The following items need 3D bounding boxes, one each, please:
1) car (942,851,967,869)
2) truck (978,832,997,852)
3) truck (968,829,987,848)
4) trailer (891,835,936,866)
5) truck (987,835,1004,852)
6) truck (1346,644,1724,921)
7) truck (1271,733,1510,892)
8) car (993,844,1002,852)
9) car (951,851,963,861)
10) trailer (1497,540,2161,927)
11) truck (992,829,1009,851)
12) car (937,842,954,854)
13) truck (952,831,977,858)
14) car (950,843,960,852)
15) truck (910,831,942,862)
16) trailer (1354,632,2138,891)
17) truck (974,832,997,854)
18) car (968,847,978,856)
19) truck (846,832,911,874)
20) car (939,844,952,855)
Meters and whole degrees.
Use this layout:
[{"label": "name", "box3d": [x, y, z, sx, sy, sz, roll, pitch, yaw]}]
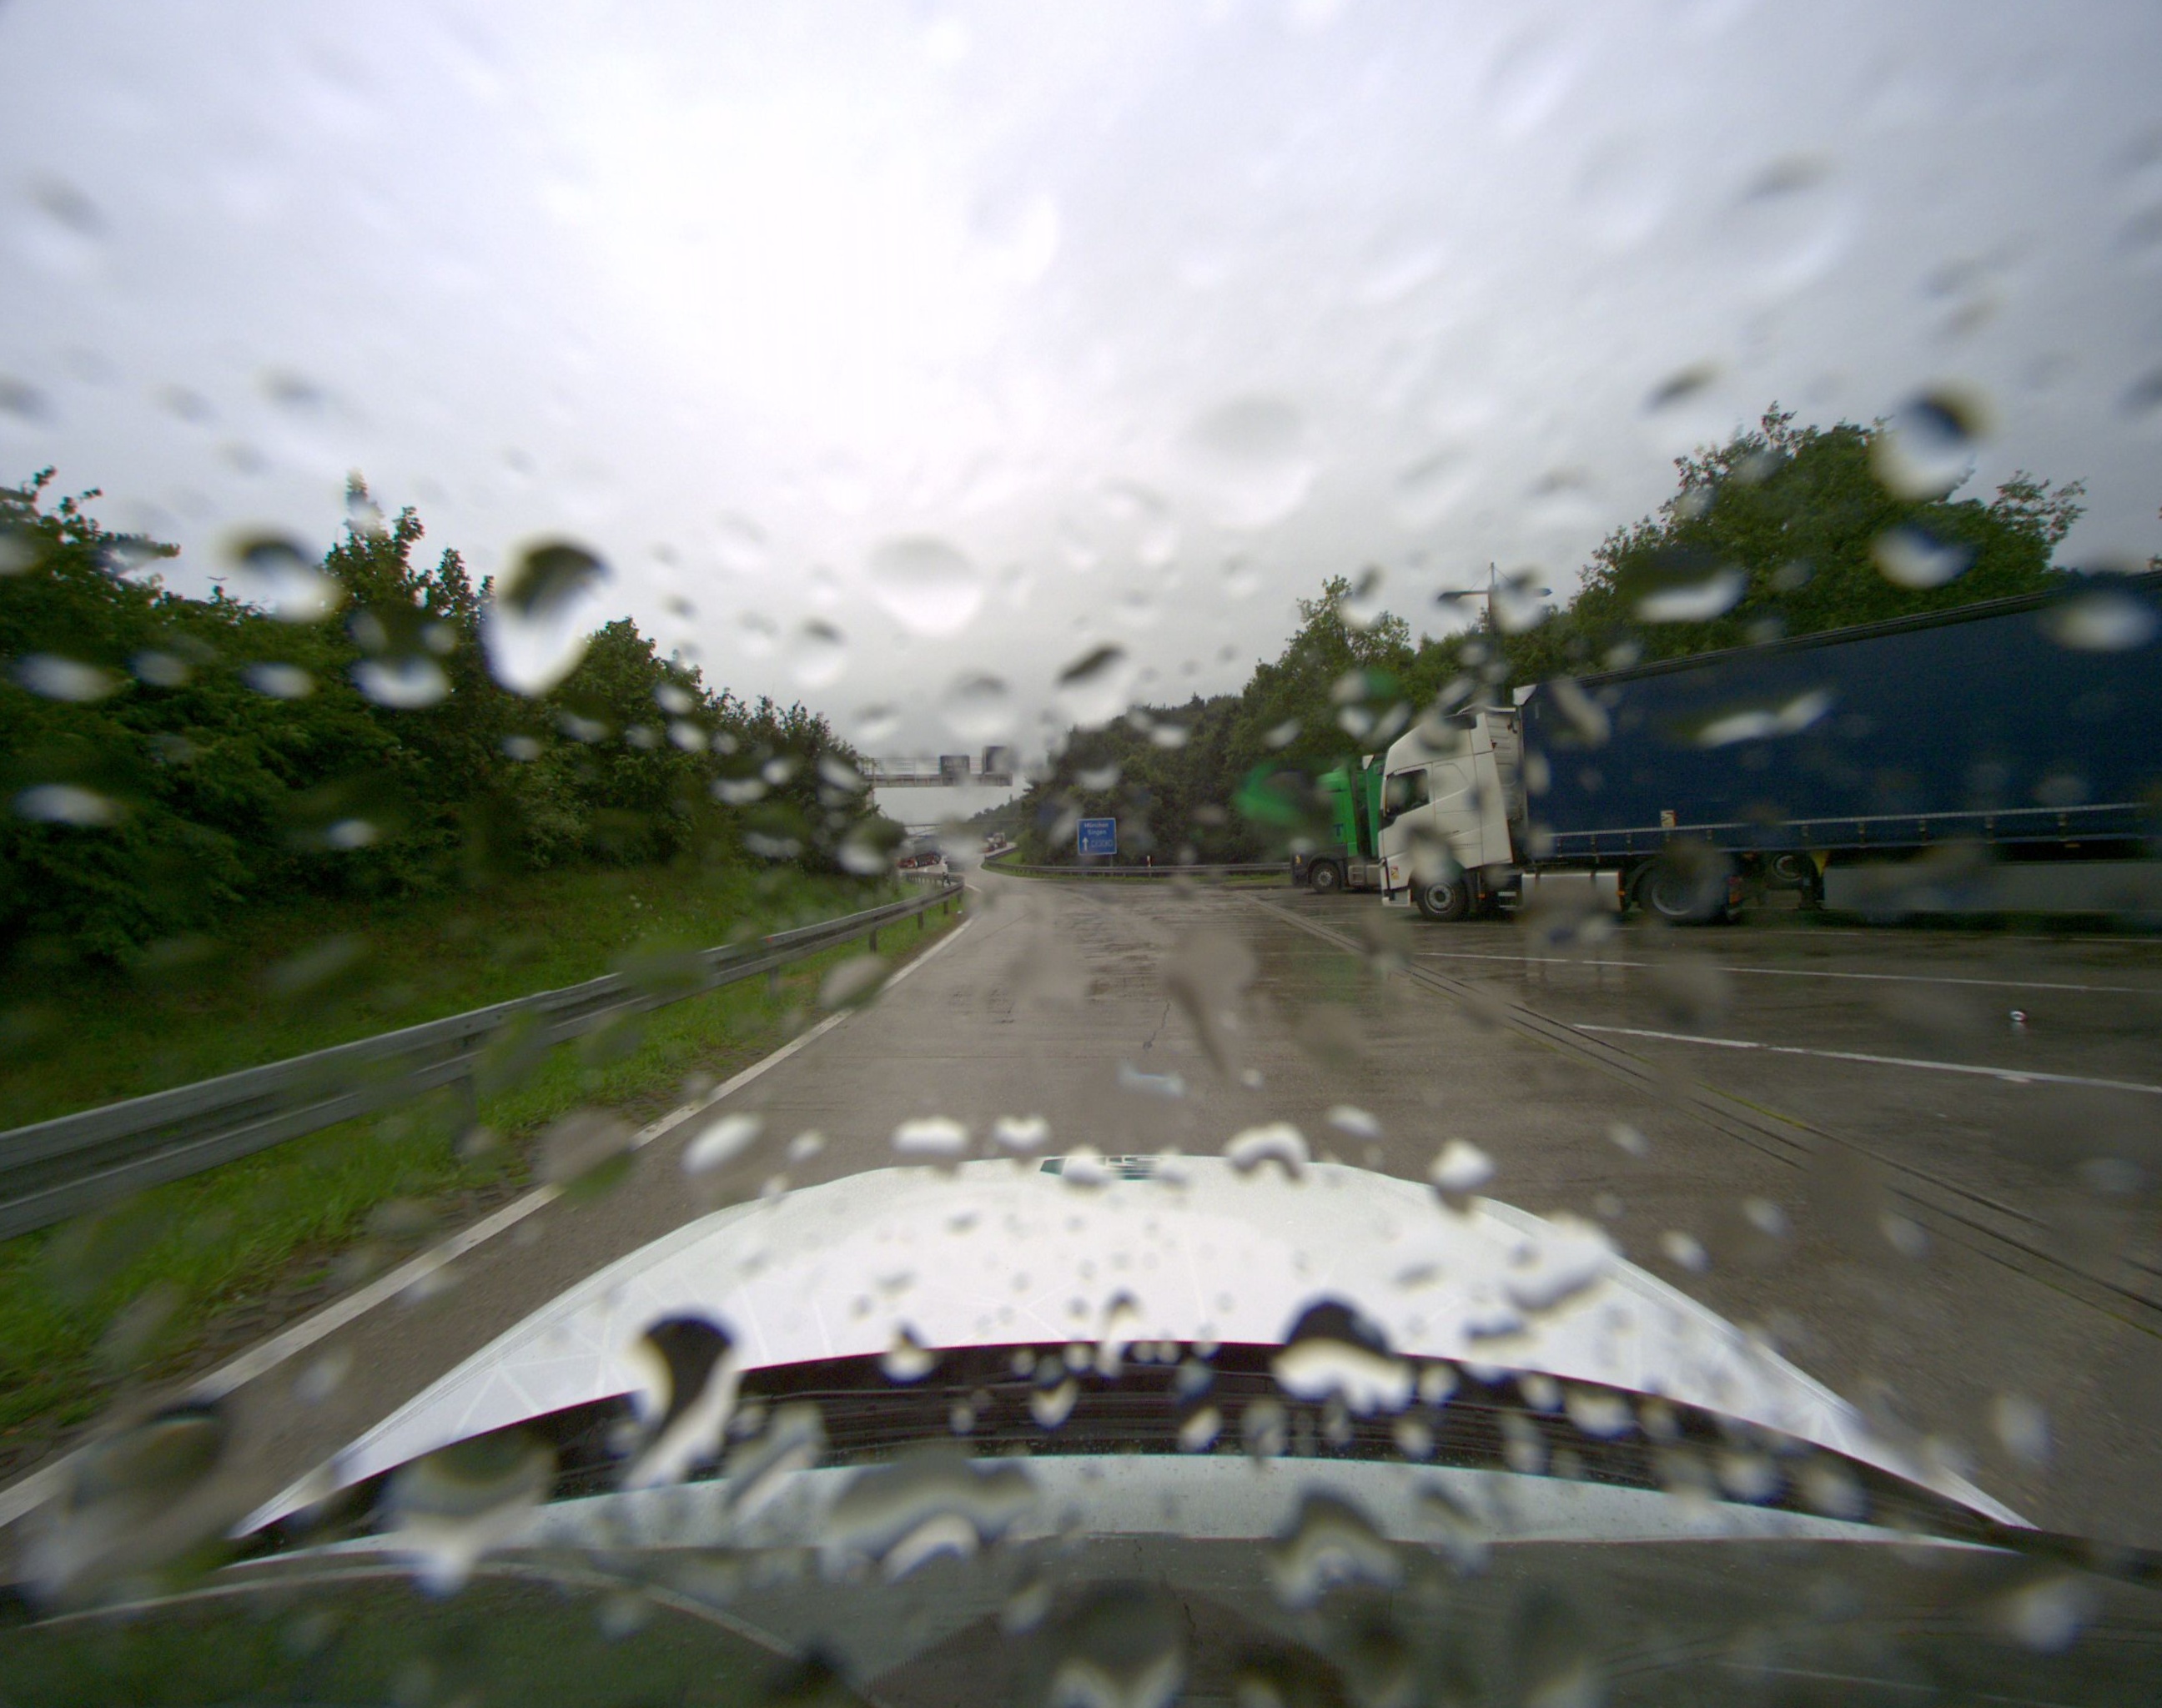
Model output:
[{"label": "car", "box3d": [-11.743, 0.530, 75.921, 1.990, 1.636, 3.993, 0, 0, -5]}, {"label": "truck", "box3d": [-20.475, -2.561, 178.994, 3.500, 4.268, 10.589, 0, 0, -4]}, {"label": "truck", "box3d": [-25.712, -3.803, 202.551, 3.567, 4.095, 10.872, -3, 0, -2]}, {"label": "trailer", "box3d": [-19.789, -0.546, 96.837, 2.863, 3.288, 10.081, -3, 2, 1]}, {"label": "truck", "box3d": [-21.221, -2.551, 203.367, 3.748, 3.970, 11.043, 0, 0, -4]}, {"label": "truck", "box3d": [8.158, -1.021, 15.072, 2.842, 4.145, 5.239, -3, -1, -41]}, {"label": "truck", "box3d": [9.182, -1.061, 24.641, 2.843, 4.149, 5.925, -3, -1, -43]}, {"label": "car", "box3d": [-19.558, -1.376, 190.458, 1.793, 1.903, 3.996, -3, 0, -3]}, {"label": "car", "box3d": [-22.418, 0.363, 147.011, 1.793, 1.904, 3.996, 0, 0, -3]}, {"label": "trailer", "box3d": [12.836, -1.360, 9.646, 2.842, 4.171, 13.827, -3, 0, -41]}, {"label": "truck", "box3d": [-21.911, -3.772, 222.152, 4.328, 5.763, 9.717, 0, 0, -4]}, {"label": "car", "box3d": [-33.103, -1.404, 199.712, 3.238, 3.002, 6.768, 0, 0, -2]}, {"label": "truck", "box3d": [-23.729, -1.852, 166.156, 3.744, 5.499, 10.166, 0, 0, -1]}, {"label": "car", "box3d": [-28.153, -1.393, 182.227, 1.793, 1.903, 3.996, -3, 0, -3]}, {"label": "truck", "box3d": [-19.713, -0.957, 103.706, 2.868, 3.693, 5.057, -3, 2, 0]}, {"label": "trailer", "box3d": [13.763, -1.373, 19.551, 2.843, 4.149, 13.797, -3, 0, -42]}, {"label": "truck", "box3d": [-19.068, -2.329, 163.343, 3.593, 4.104, 11.547, -4, 2, -3]}, {"label": "car", "box3d": [-23.097, -0.570, 174.145, 1.793, 1.903, 3.996, -3, 0, -3]}, {"label": "truck", "box3d": [-19.463, -0.217, 79.289, 2.821, 3.588, 11.802, -4, 1, 2]}, {"label": "car", "box3d": [-26.150, -0.818, 157.398, 1.793, 1.903, 3.997, -3, 0, -2]}]
